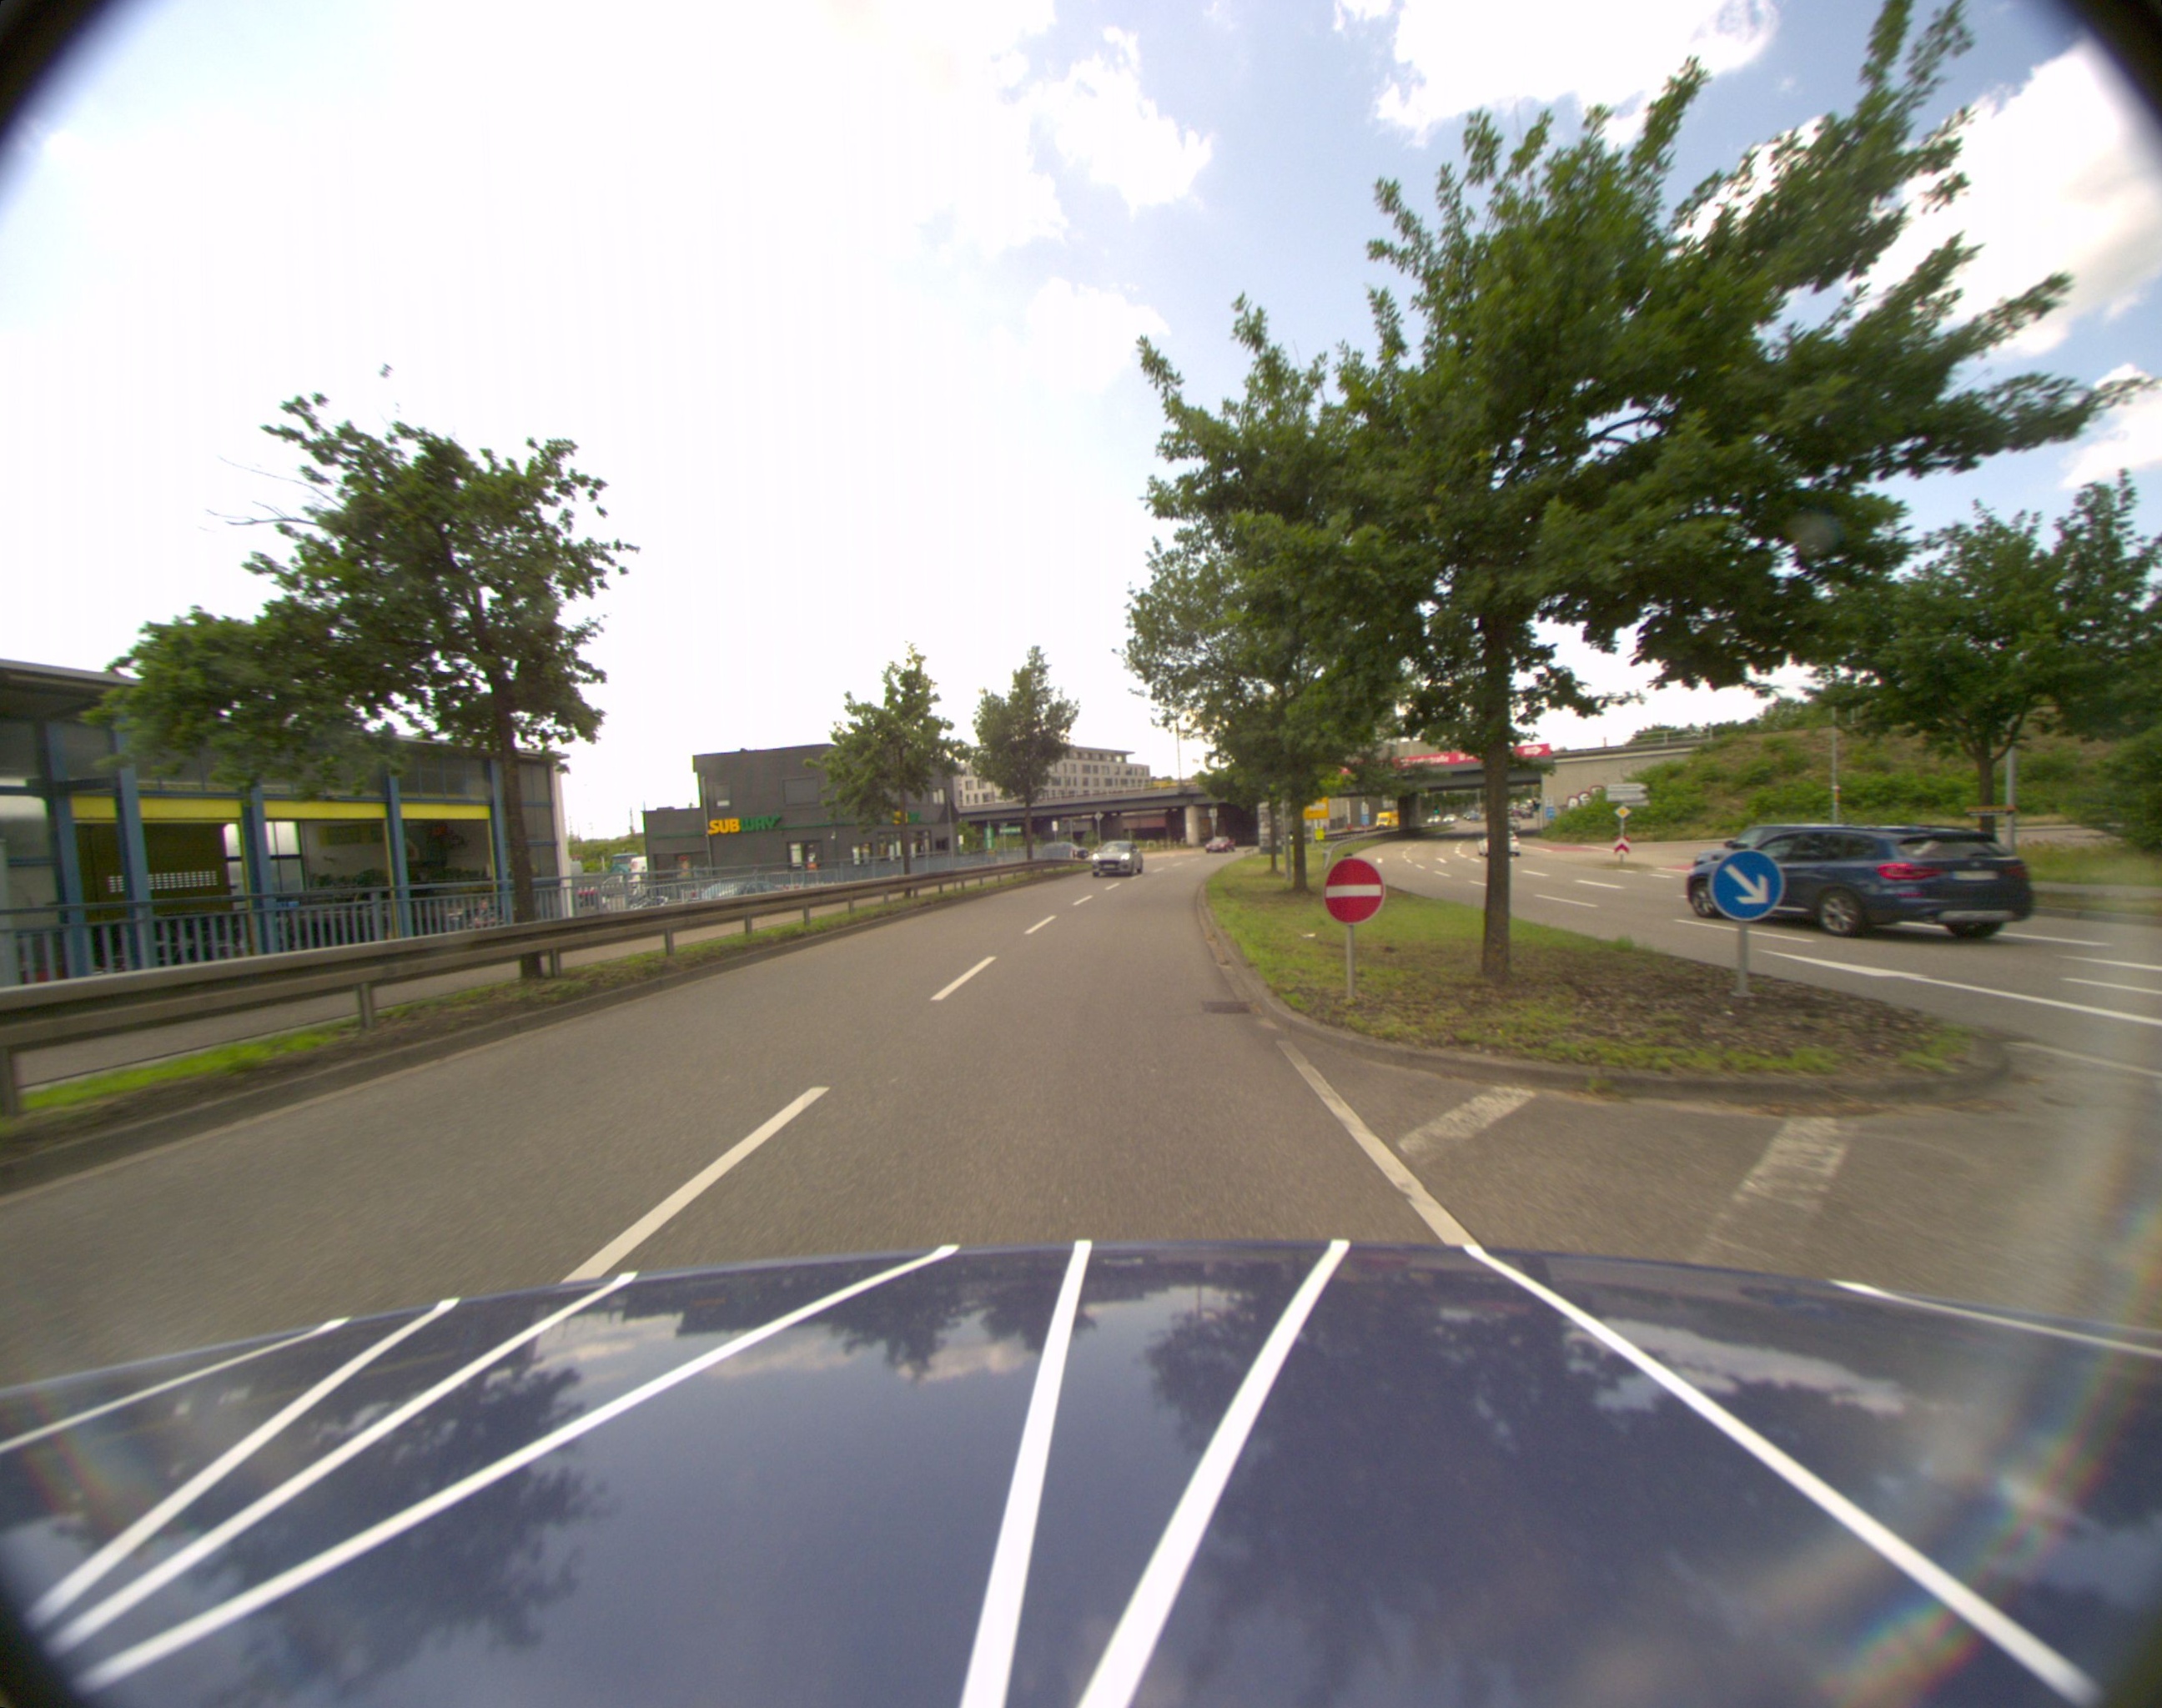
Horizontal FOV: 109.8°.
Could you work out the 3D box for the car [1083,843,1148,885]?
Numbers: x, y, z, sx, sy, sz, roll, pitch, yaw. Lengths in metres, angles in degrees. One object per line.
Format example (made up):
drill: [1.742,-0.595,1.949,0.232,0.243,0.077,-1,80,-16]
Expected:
car: [1.635,0.391,34.667,1.821,1.565,3.957,-4,1,18]

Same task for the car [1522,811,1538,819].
car: [83.636,-7.274,141.479,1.948,1.366,4.006,-3,3,41]

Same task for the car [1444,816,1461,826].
car: [68.293,-6.017,139.563,1.917,1.406,4.302,-7,0,36]

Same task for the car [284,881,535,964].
car: [-20.240,2.035,23.062,5.814,2.003,2.232,-3,3,6]

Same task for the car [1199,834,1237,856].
car: [11.342,-0.775,62.723,1.995,1.549,4.287,-2,3,24]

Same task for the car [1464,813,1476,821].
car: [79.909,-7.572,156.110,1.779,1.488,3.604,-1,3,36]

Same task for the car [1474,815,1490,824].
car: [74.931,-6.456,141.870,1.995,1.407,4.839,-3,2,36]

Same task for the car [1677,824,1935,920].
car: [16.253,0.292,17.475,1.997,1.851,4.717,-2,2,10]

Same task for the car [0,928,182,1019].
car: [-23.648,2.653,17.156,4.780,1.620,2.164,-2,1,11]

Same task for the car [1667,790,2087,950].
car: [12.197,0.225,12.299,1.998,2.002,4.820,-3,0,6]

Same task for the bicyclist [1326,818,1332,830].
bicyclist: [40.402,-4.881,123.690,0.715,1.759,0.990,-1,4,32]

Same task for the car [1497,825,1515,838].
car: [53.397,-2.893,95.342,1.753,1.502,4.007,-1,2,32]

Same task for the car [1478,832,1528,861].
car: [24.475,-0.480,44.215,1.995,1.524,4.336,0,3,21]

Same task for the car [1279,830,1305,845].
car: [24.147,-1.866,86.933,1.710,1.488,3.656,-1,3,36]

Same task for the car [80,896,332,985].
car: [-23.408,2.287,20.430,4.780,2.002,2.234,-2,1,11]

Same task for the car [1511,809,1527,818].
car: [90.579,-8.447,157.140,1.994,1.666,4.330,-1,3,41]

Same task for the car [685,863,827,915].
car: [-10.703,1.094,25.470,1.997,1.351,4.752,-2,1,11]

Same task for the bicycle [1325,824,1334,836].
bicycle: [40.544,-3.940,123.893,0.720,1.764,2.537,-1,4,32]
